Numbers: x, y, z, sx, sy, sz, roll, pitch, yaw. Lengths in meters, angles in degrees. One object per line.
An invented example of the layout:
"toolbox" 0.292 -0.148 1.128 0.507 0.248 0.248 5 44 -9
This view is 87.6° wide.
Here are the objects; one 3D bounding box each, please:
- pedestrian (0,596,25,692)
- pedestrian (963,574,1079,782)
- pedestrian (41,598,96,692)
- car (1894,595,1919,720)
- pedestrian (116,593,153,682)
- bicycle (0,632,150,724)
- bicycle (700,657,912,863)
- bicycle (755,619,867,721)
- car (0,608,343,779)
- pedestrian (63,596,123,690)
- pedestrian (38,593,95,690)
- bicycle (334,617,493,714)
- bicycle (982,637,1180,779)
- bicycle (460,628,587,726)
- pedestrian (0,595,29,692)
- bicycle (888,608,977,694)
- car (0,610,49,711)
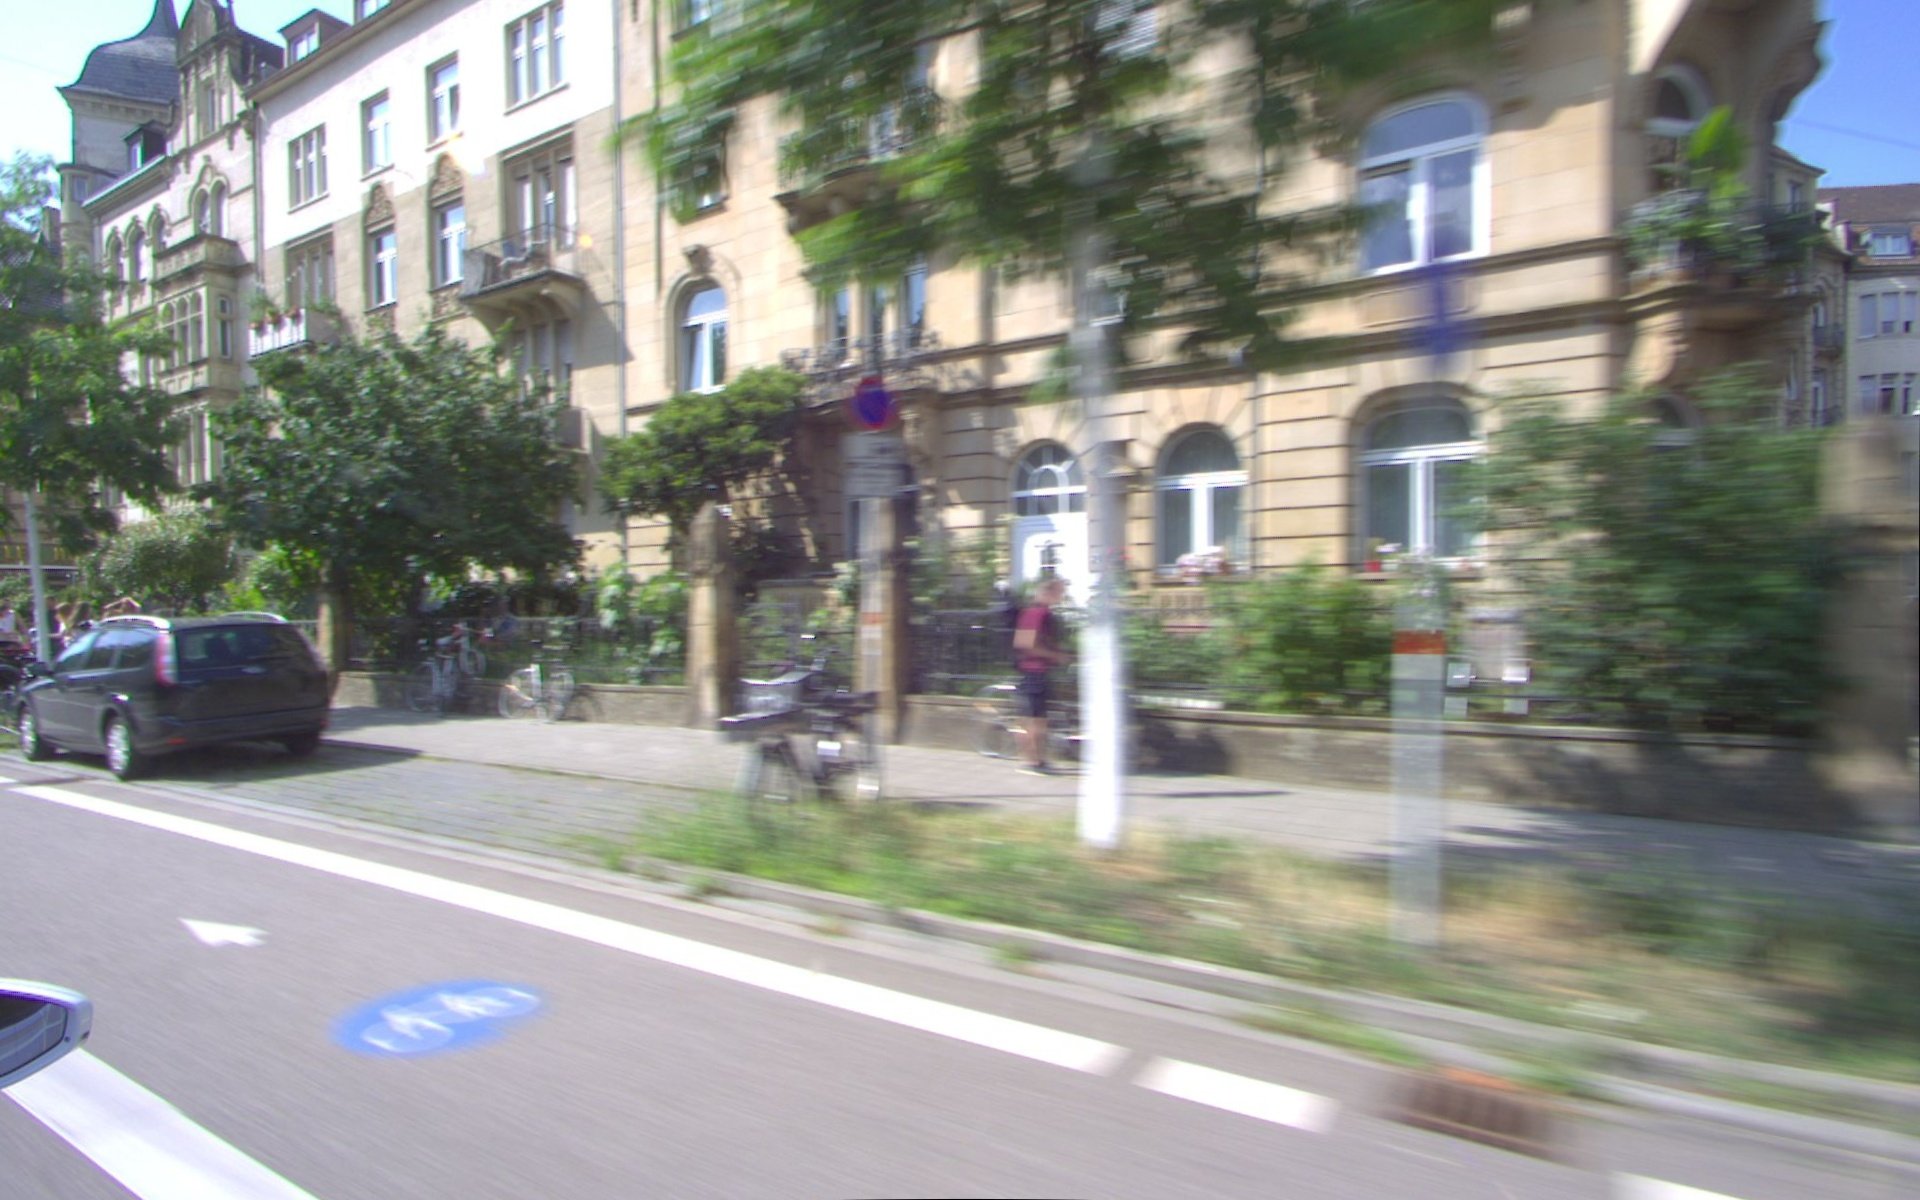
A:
"pedestrian" -17.512 0.794 18.460 0.316 1.730 0.456 -4 4 -43
"pedestrian" 0.519 0.631 8.449 0.714 1.650 0.722 0 0 32
"pedestrian" -16.748 0.839 18.813 0.487 1.730 0.502 -1 3 14
"car" 12.896 0.734 11.949 1.806 1.638 4.246 0 0 33
"pedestrian" -16.348 0.731 19.835 0.425 1.730 0.383 0 3 32
"bicycle" -13.868 1.141 14.816 0.779 1.262 2.950 0 0 20
"bicycle" -0.933 0.951 6.527 0.464 1.083 1.705 0 0 26
"bicycle" -1.825 0.834 12.528 0.464 1.084 1.704 0 3 26
"car" -8.761 0.871 10.900 4.642 1.522 1.682 -1 0 33
"pedestrian" -15.944 0.782 18.423 0.564 1.699 0.529 -1 3 14
"pedestrian" -17.305 0.793 19.397 0.314 1.829 0.668 0 3 31
"bicycle" -7.957 0.906 14.505 2.901 1.266 0.656 -1 3 33
"bicycle" 1.029 0.893 8.727 1.687 1.123 0.469 -1 0 33
"bicycle" -5.643 0.955 12.896 1.994 1.155 0.426 -1 3 33
"pedestrian" -18.169 0.819 19.082 0.314 1.829 0.458 0 3 31
"bicycle" -0.377 0.720 14.880 0.464 1.084 1.886 0 3 26
"car" -17.000 0.971 16.350 4.421 1.547 1.795 0 2 29
